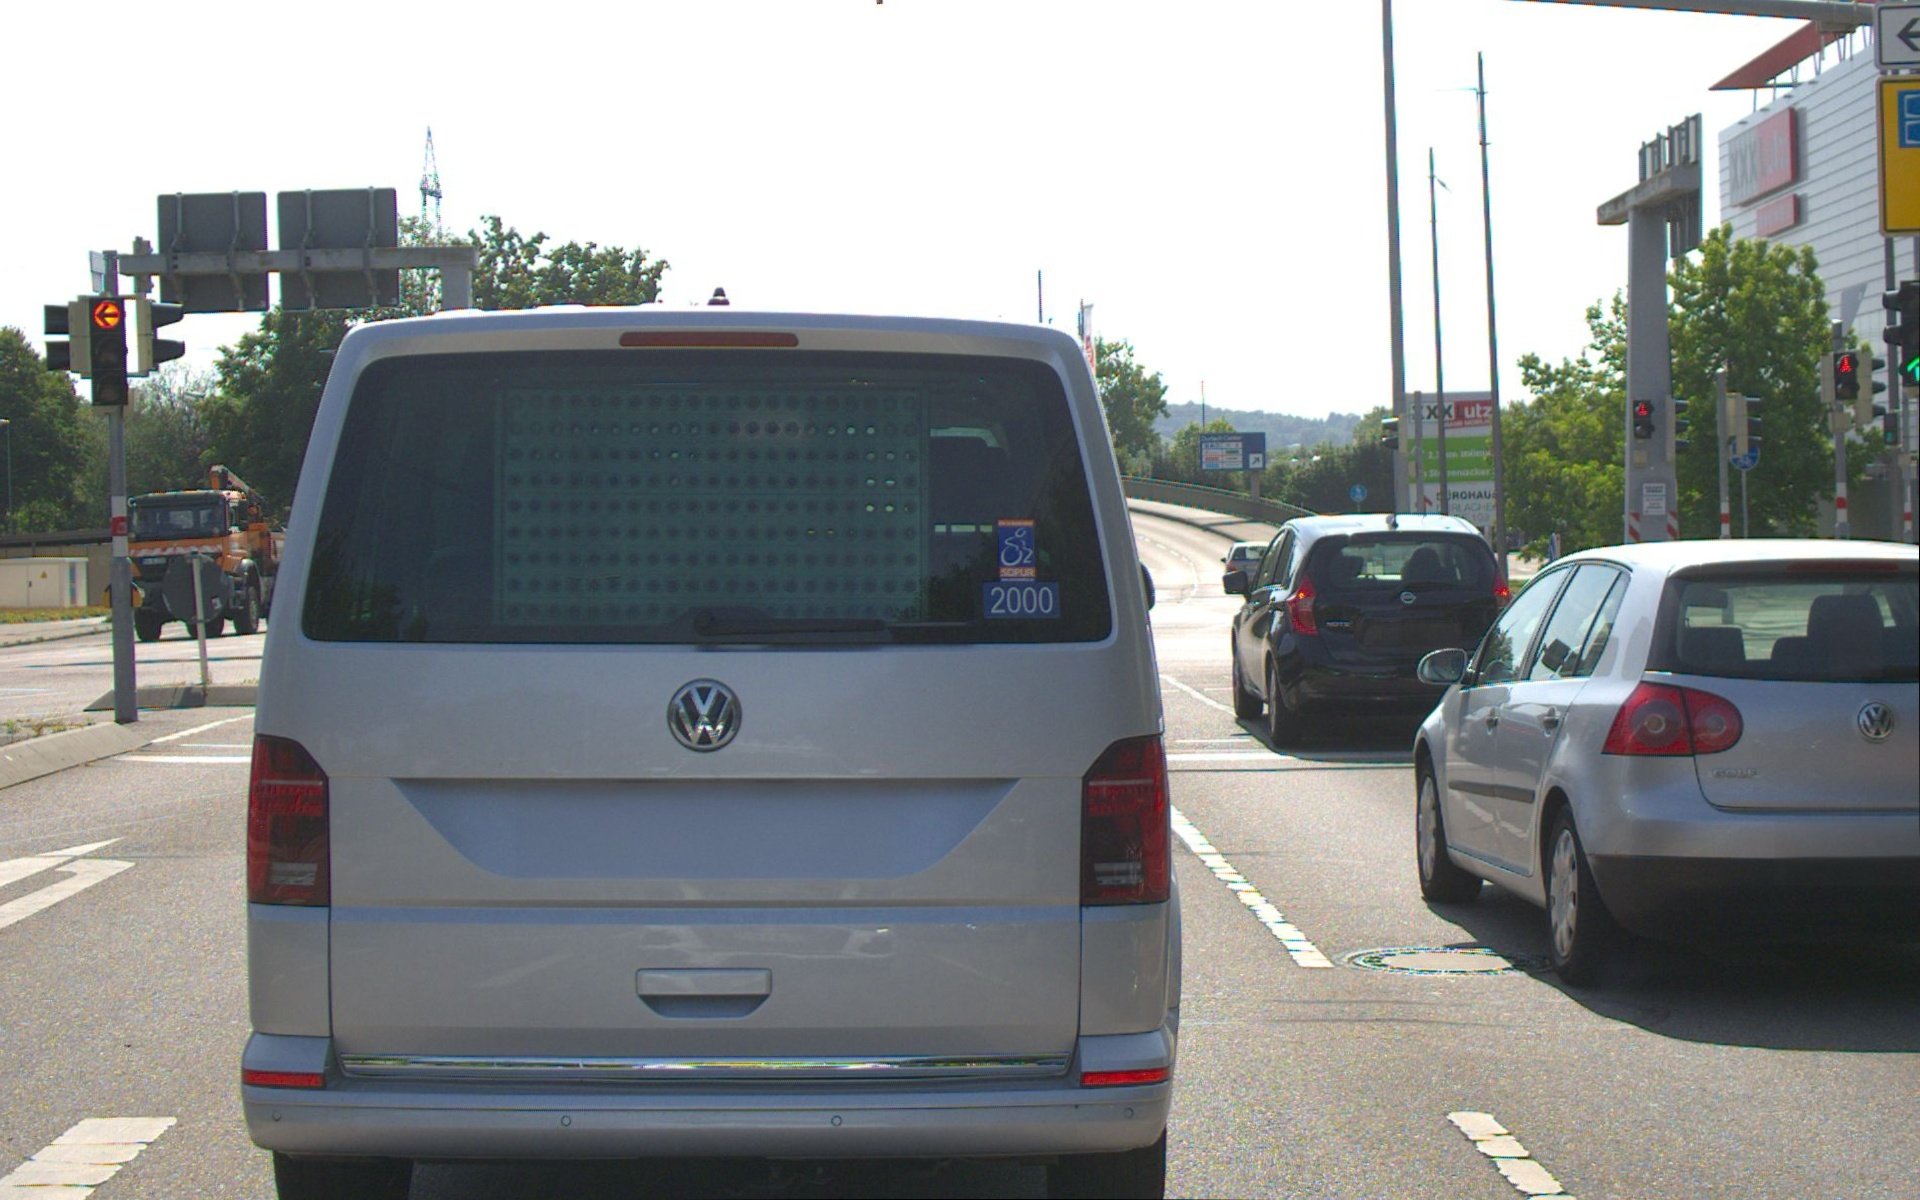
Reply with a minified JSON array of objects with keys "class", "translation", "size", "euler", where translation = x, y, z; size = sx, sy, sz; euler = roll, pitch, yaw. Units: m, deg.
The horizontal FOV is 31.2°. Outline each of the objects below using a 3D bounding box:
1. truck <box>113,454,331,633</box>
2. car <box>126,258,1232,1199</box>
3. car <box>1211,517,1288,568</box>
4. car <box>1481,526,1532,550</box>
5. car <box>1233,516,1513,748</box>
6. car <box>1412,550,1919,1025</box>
[{"class":"truck","translation":[-16.211,-1.277,76.061],"size":[2.746,3.667,7.579],"euler":[-2,1,3]},{"class":"car","translation":[-0.522,0.349,8.128],"size":[1.917,1.968,4.297],"euler":[0,1,-1]},{"class":"car","translation":[8.498,-1.704,101.210],"size":[1.530,1.433,3.248],"euler":[-2,1,-8]},{"class":"car","translation":[34.479,-3.885,216.828],"size":[1.993,1.415,4.001],"euler":[1,0,-9]},{"class":"car","translation":[2.769,0.168,23.657],"size":[1.531,1.475,3.596],"euler":[0,1,1]},{"class":"car","translation":[2.737,0.540,12.251],"size":[1.666,1.409,3.683],"euler":[0,1,-2]}]
